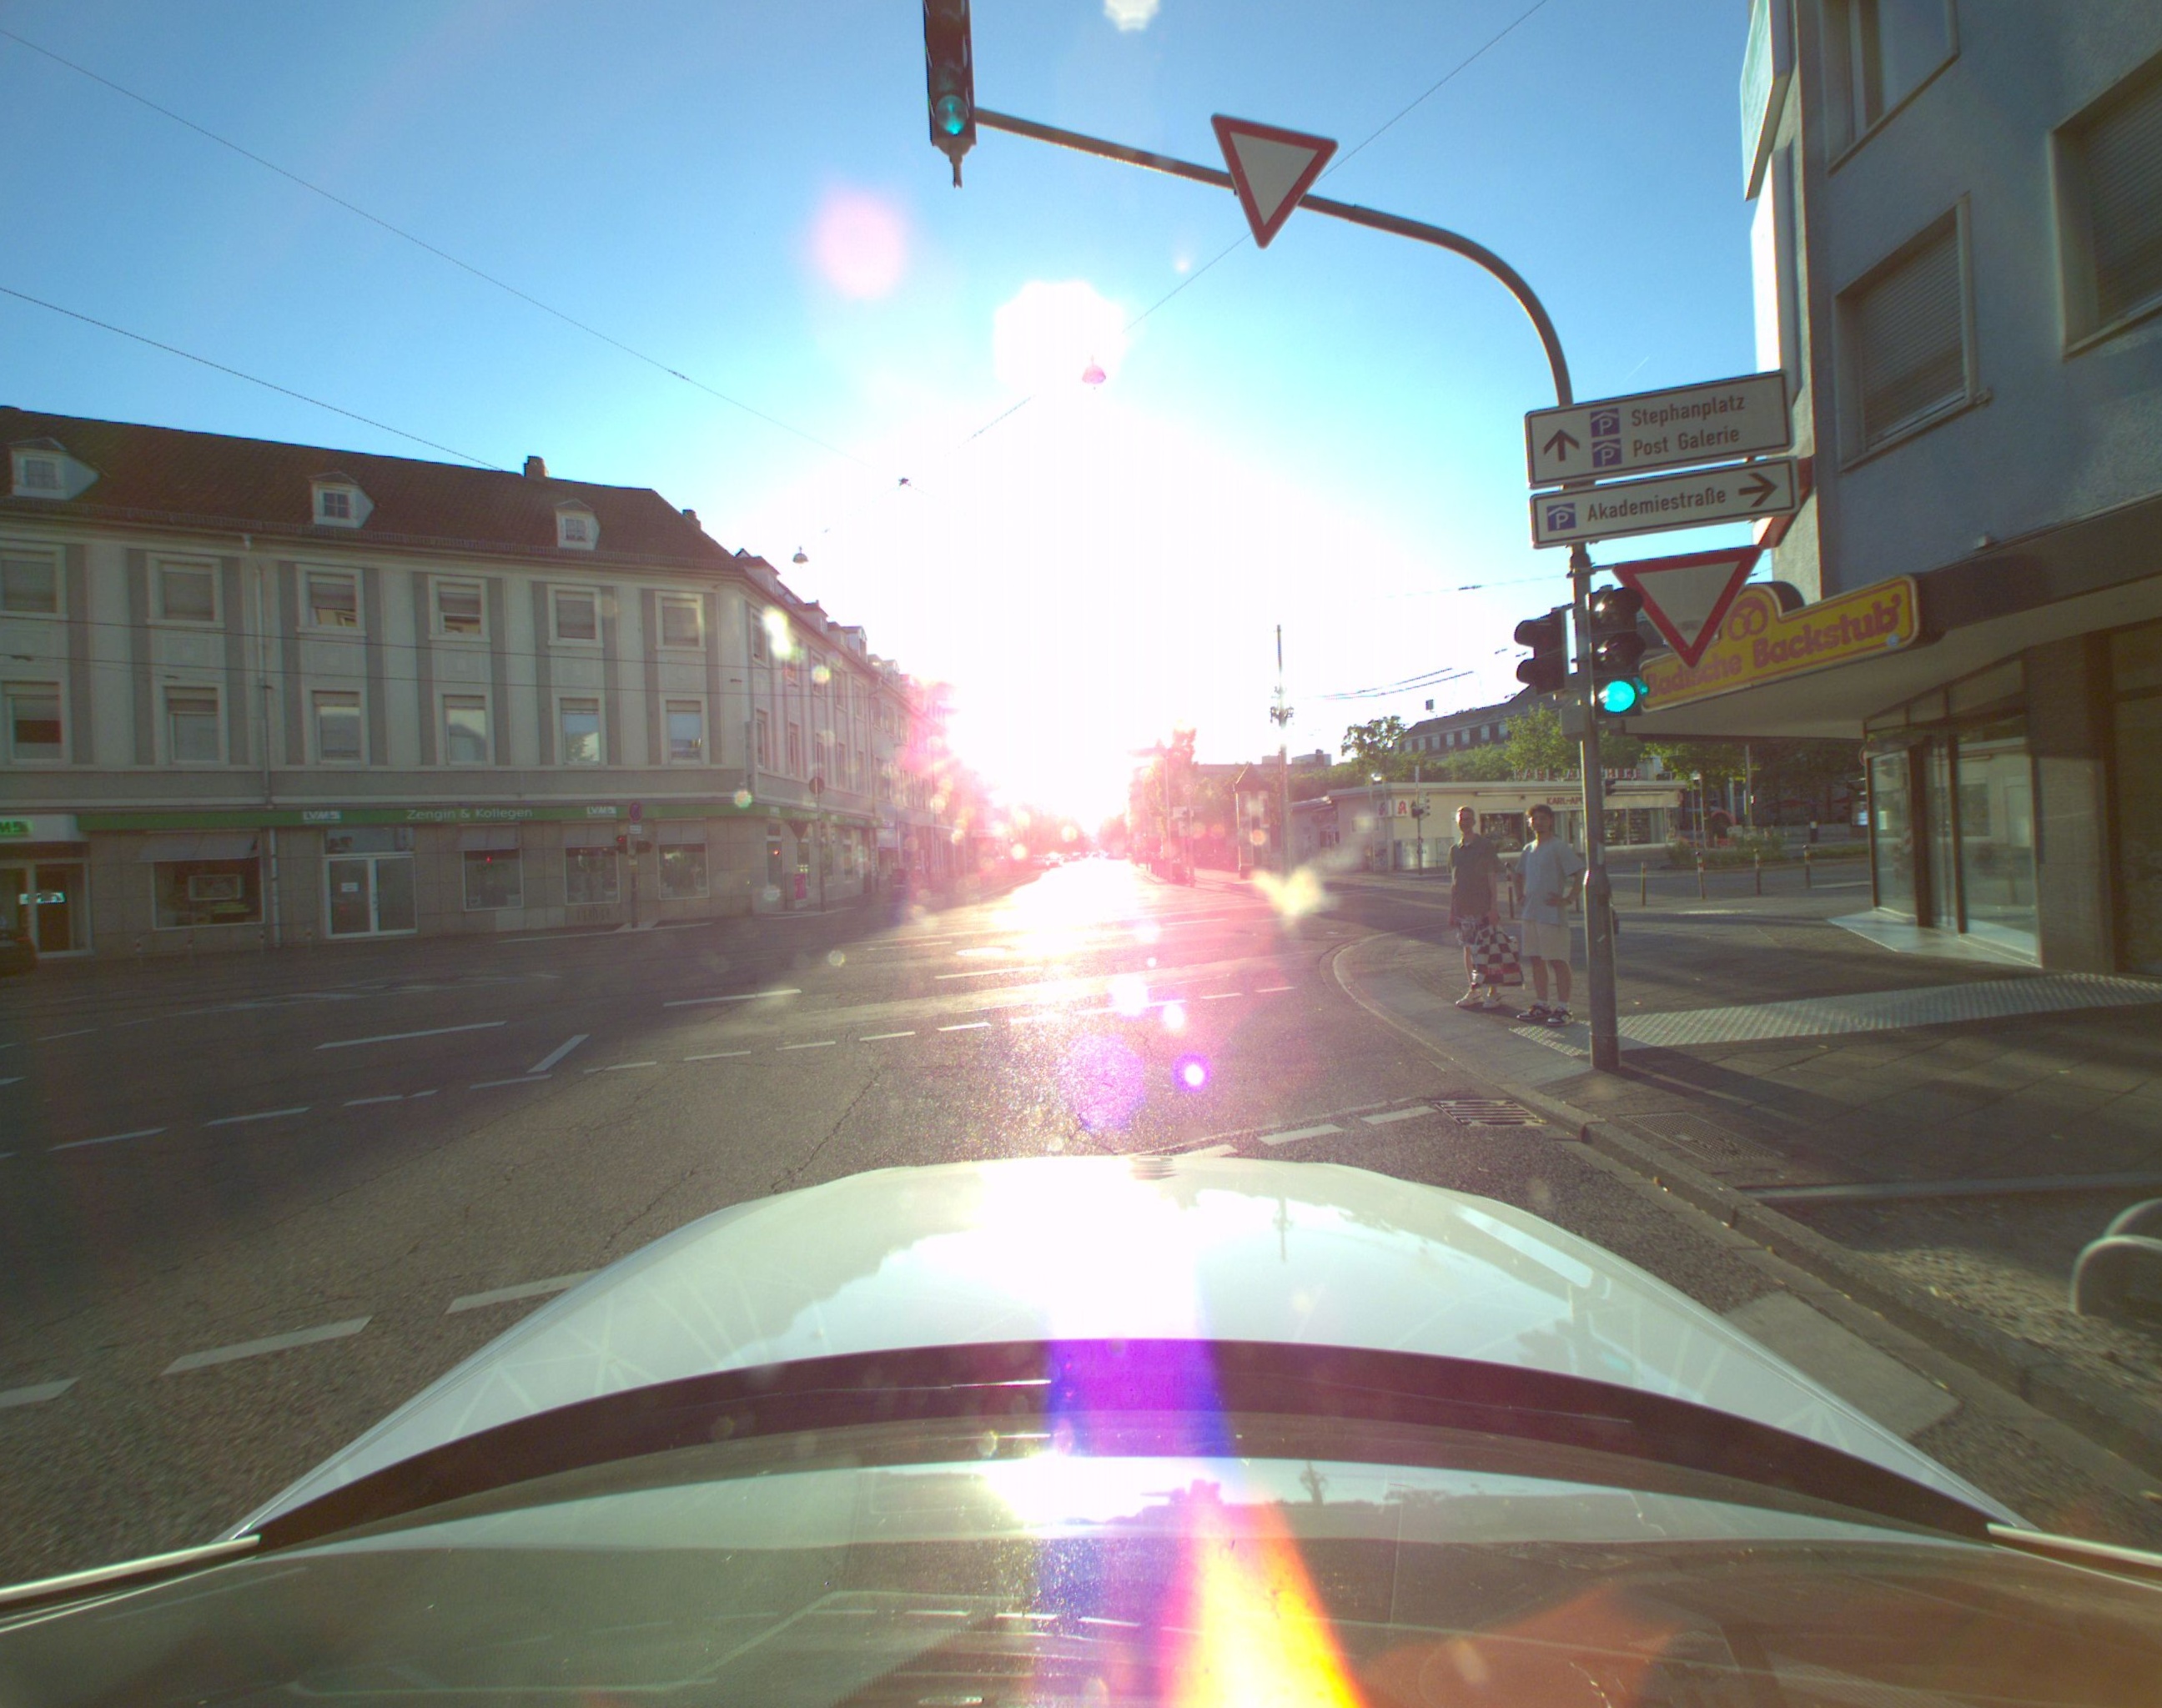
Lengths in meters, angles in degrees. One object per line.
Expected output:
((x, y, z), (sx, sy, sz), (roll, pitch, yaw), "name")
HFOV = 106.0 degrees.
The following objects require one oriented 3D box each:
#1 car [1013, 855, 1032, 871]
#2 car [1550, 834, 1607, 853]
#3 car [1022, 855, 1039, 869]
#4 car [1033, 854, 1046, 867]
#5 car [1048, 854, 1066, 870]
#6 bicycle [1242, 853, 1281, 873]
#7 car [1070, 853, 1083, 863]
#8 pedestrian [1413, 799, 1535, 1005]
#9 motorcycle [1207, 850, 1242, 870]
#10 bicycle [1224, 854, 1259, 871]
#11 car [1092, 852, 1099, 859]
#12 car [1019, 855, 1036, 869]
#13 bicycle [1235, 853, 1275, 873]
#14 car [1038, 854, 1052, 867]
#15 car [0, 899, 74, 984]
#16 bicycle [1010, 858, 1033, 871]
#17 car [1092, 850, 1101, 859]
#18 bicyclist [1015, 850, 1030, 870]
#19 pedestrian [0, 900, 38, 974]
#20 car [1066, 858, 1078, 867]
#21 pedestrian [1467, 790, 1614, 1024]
((-5.934, 0.878, 82.697), (1.539, 1.483, 3.352), (-3, 0, 1), "car")
((43.014, -0.939, 70.346), (4.684, 1.565, 1.790), (0, -1, -23), "car")
((-5.650, 0.881, 91.318), (1.539, 1.469, 3.352), (-2, -1, 1), "car")
((-4.974, 0.792, 98.019), (1.302, 1.582, 2.889), (-2, -1, 1), "car")
((-2.389, 0.797, 81.847), (1.539, 1.468, 3.352), (-2, -1, 1), "car")
((9.888, 0.493, 44.686), (2.008, 1.044, 0.561), (-2, -1, 9), "bicycle")
((-0.859, 0.752, 144.508), (1.985, 1.684, 4.004), (-3, 0, 3), "car")
((3.599, 0.413, 7.486), (0.588, 1.773, 0.742), (-2, 0, -30), "pedestrian")
((9.429, 0.370, 53.578), (2.223, 1.201, 0.721), (-2, 0, 6), "motorcycle")
((9.948, 0.540, 50.455), (2.065, 0.982, 0.561), (-2, -1, 9), "bicycle")
((4.442, 0.489, 247.109), (1.985, 1.816, 4.004), (-3, 0, 3), "car")
((-5.650, 0.867, 86.337), (1.539, 1.469, 3.352), (-2, -1, 1), "car")
((9.777, 0.529, 45.868), (2.134, 1.043, 0.561), (-2, -1, 9), "bicycle")
((-4.543, 0.784, 103.803), (1.478, 1.559, 3.259), (-2, -1, 1), "car")
((-21.832, 1.707, 14.532), (4.536, 1.480, 1.887), (-3, 0, -15), "car")
((-5.530, 1.012, 76.208), (2.099, 1.204, 0.503), (-1, -1, 20), "bicycle")
((3.427, 0.135, 177.009), (1.986, 2.014, 4.001), (-1, -1, 2), "car")
((-5.478, 0.562, 76.226), (1.120, 1.791, 0.768), (-1, -1, 20), "bicyclist")
((-25.242, 1.949, 18.938), (0.810, 1.640, 0.826), (-3, 1, -6), "pedestrian")
((-1.691, 1.581, 151.048), (1.985, 1.680, 4.002), (-1, -1, 2), "car")
((3.749, 0.402, 6.688), (0.639, 1.773, 0.744), (-3, 0, -19), "pedestrian")
